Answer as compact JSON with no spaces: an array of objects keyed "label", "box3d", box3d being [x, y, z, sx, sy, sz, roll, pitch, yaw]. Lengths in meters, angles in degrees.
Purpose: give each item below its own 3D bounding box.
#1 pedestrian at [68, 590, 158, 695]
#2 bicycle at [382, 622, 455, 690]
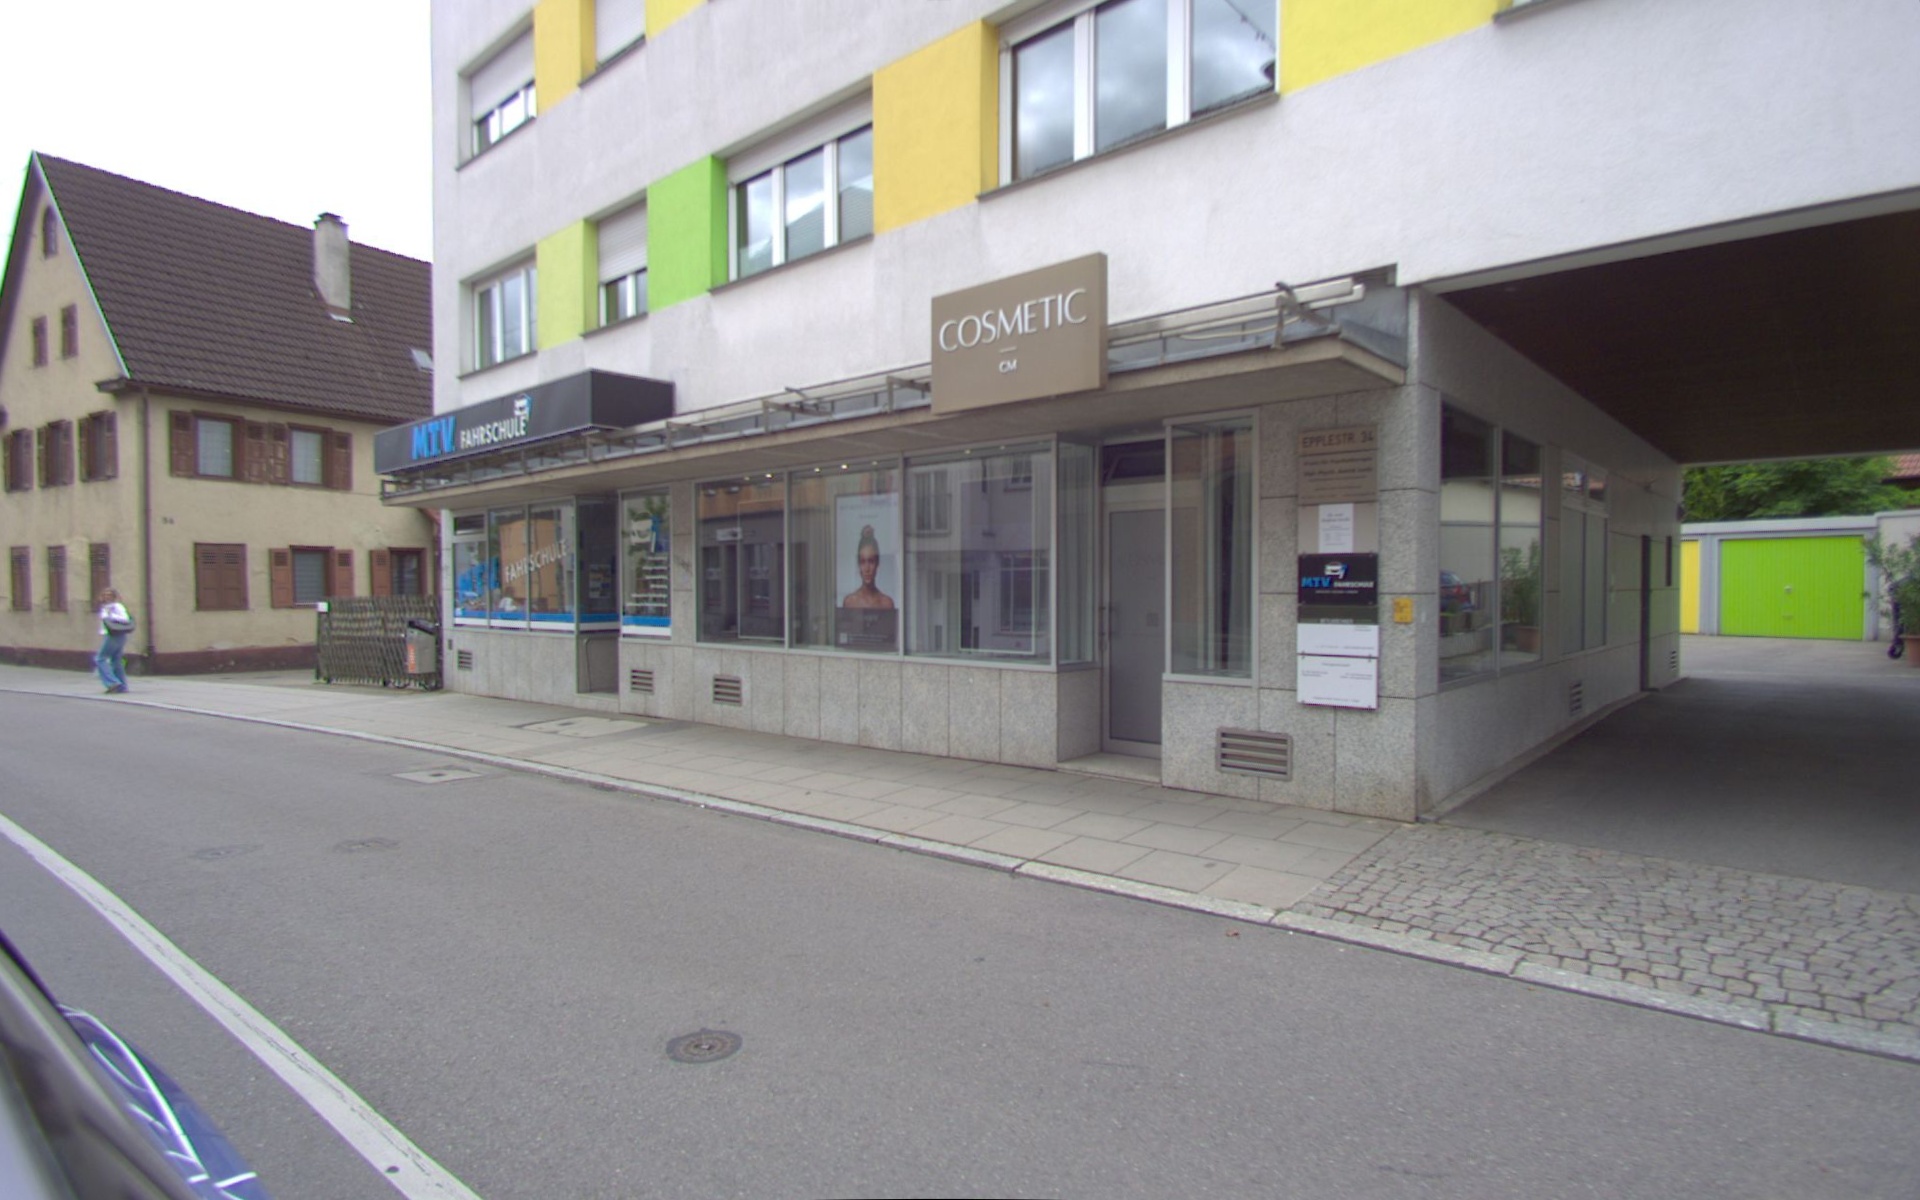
[{"label":"pedestrian","box3d":[-13.974,0.681,16.713,0.857,1.678,0.887,-1,0,27]},{"label":"bicycle","box3d":[-8.985,0.908,16.763,1.744,1.061,0.320,-1,0,35]}]
